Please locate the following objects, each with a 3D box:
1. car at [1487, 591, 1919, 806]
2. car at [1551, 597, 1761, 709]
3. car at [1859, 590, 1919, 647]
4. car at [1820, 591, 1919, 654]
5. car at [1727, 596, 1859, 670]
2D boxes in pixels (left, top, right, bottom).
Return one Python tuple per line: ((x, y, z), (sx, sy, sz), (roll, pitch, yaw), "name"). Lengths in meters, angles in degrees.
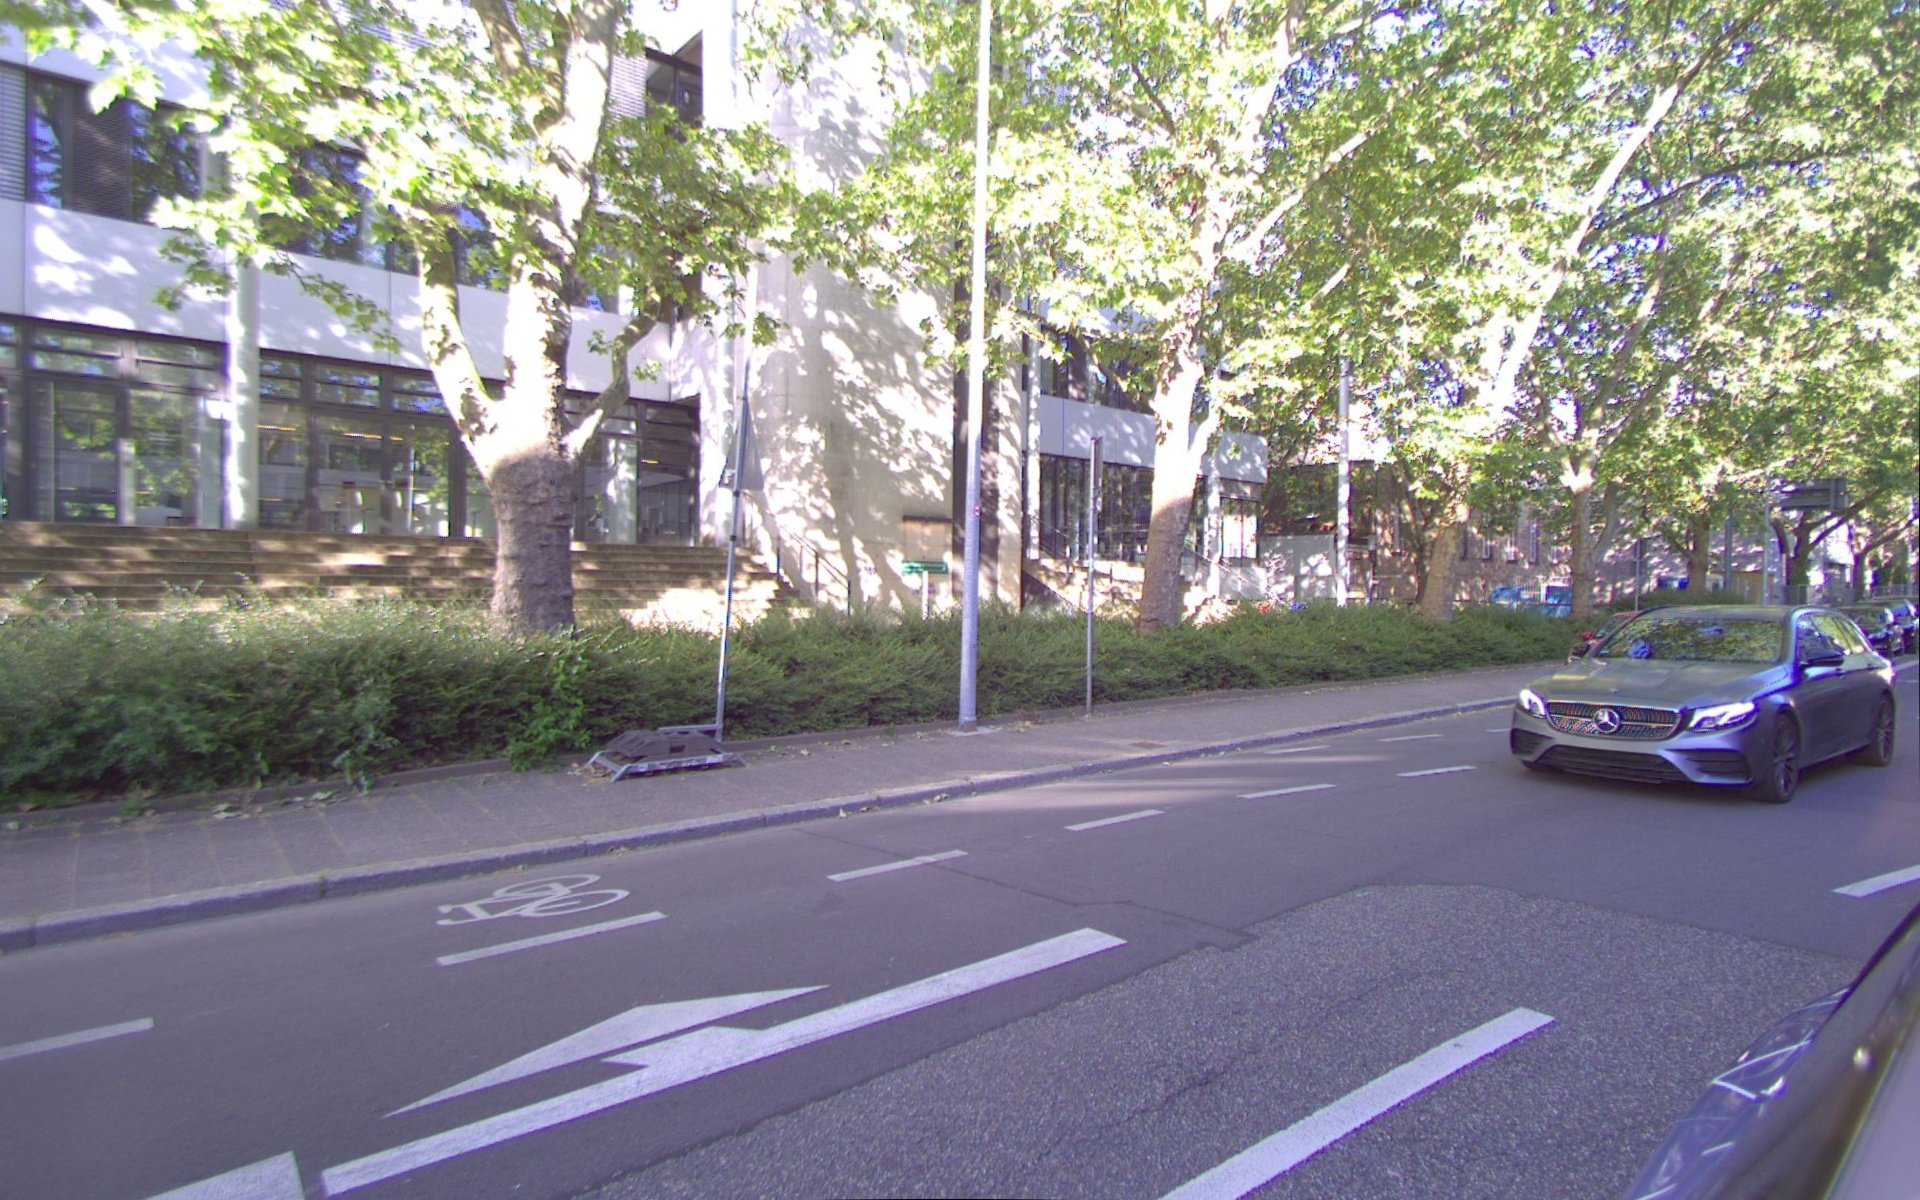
((6.864, 0.688, 9.139), (4.582, 1.483, 1.918), (0, -1, -37), "car")
((11.151, 0.744, 16.110), (4.071, 1.548, 1.827), (0, -1, -42), "car")
((29.540, 0.539, 31.719), (3.840, 1.708, 1.633), (0, 1, -42), "car")
((25.961, 0.587, 28.792), (4.022, 1.653, 1.739), (0, 1, -42), "car")
((18.610, 0.684, 22.550), (3.851, 1.511, 1.679), (0, -1, -42), "car")
